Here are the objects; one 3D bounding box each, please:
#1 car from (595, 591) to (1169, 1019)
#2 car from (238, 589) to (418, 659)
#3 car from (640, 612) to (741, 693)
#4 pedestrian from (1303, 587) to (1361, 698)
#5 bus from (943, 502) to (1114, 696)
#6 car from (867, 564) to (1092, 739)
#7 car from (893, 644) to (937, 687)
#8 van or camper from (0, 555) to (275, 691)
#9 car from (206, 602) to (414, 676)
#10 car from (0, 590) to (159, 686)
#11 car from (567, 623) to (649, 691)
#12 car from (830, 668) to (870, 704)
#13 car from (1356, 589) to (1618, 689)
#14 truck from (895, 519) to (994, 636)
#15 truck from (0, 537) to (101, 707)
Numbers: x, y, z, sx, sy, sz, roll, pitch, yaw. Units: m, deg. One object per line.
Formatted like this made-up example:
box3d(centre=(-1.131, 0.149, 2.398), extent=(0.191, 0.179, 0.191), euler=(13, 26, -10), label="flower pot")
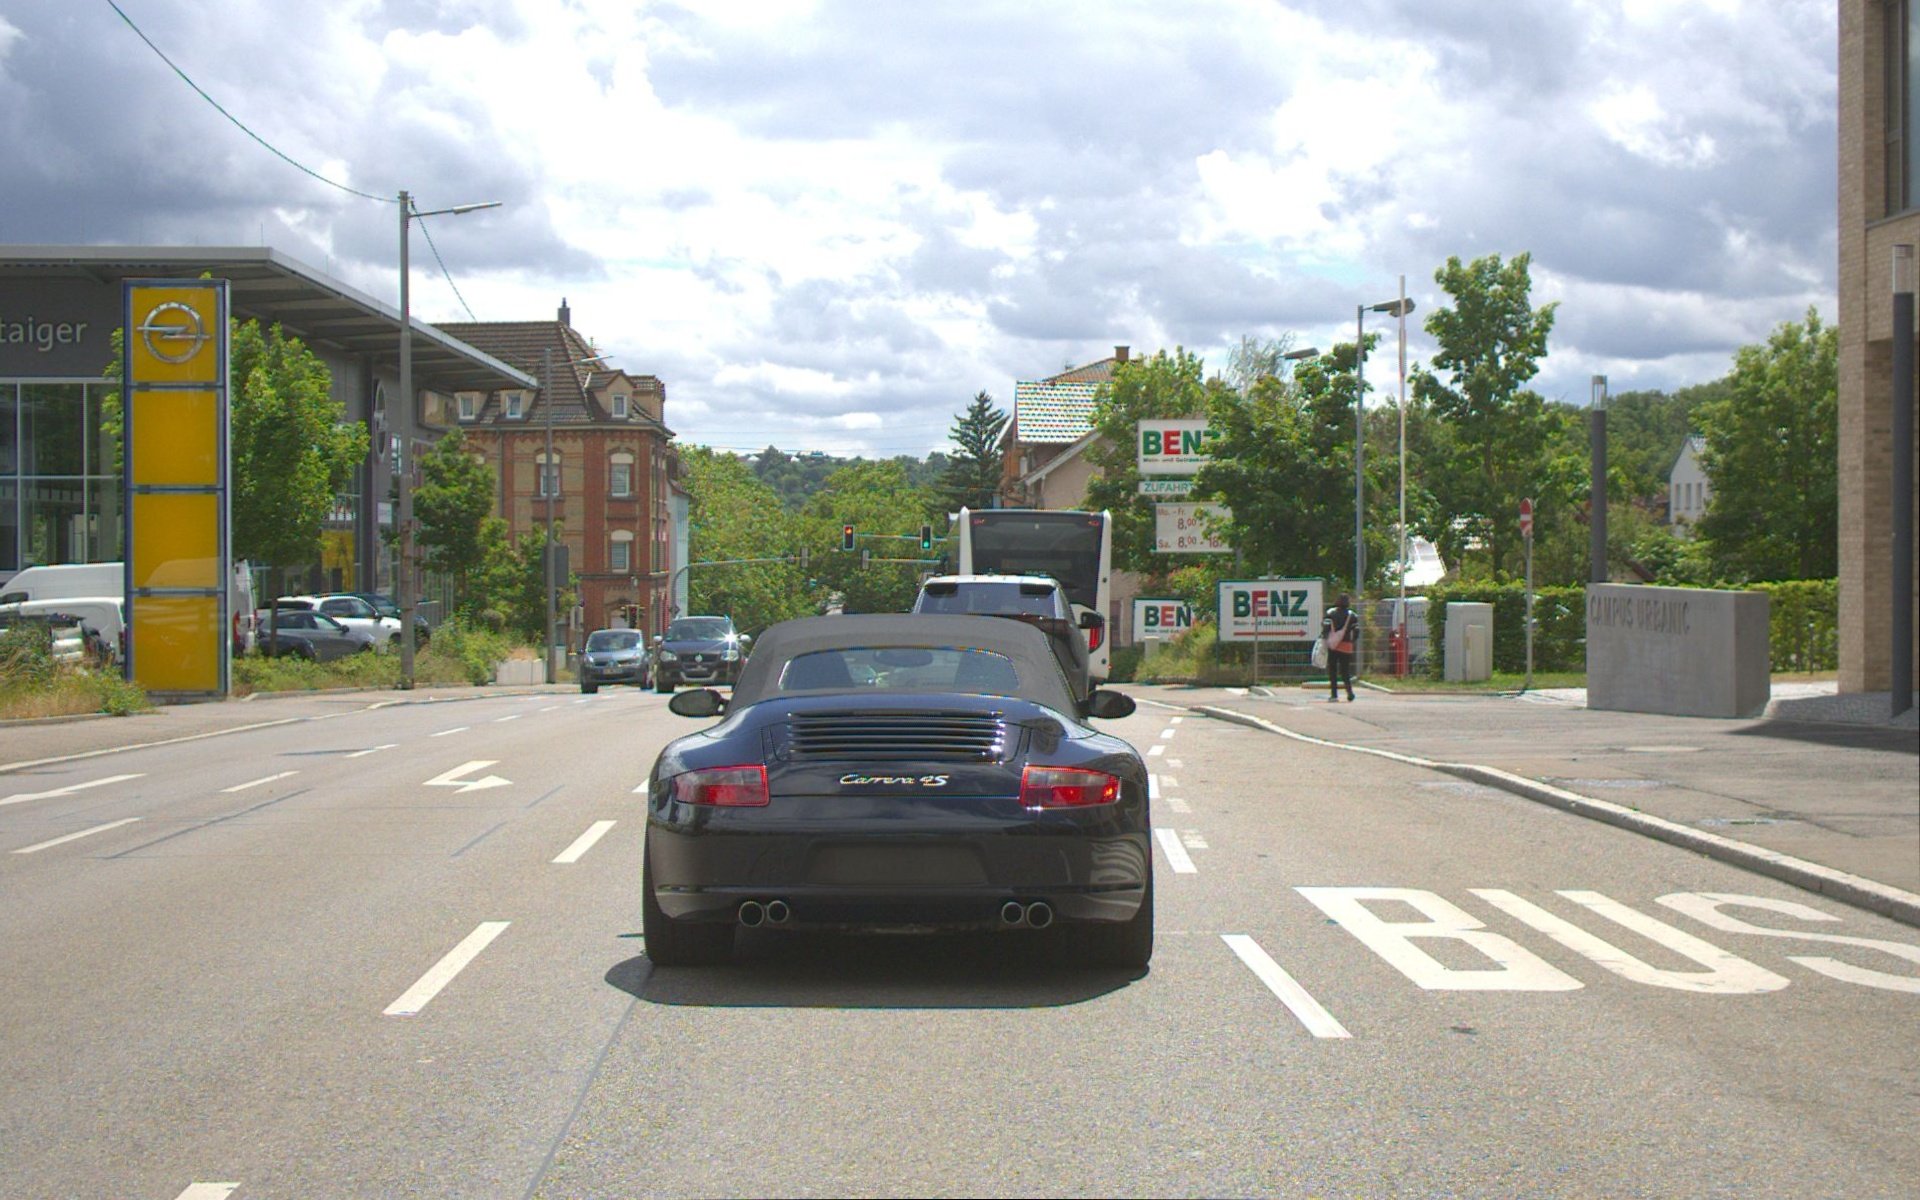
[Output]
box3d(centre=(-0.268, 0.685, 13.694), extent=(1.930, 1.372, 4.208), euler=(0, 1, 0), label="car")
box3d(centre=(-14.538, 0.576, 79.338), extent=(1.933, 1.567, 4.548), euler=(-1, -1, 22), label="car")
box3d(centre=(-5.236, 1.024, 67.100), extent=(1.829, 1.504, 4.277), euler=(-1, -1, -3), label="car")
box3d(centre=(5.198, 0.592, 48.120), extent=(0.687, 1.531, 0.856), euler=(-1, 0, -1), label="pedestrian")
box3d(centre=(1.169, -0.140, 62.698), extent=(2.802, 3.187, 12.196), euler=(0, 1, 0), label="bus")
box3d(centre=(0.119, 0.447, 33.418), extent=(1.930, 1.577, 4.208), euler=(0, 1, -3), label="car")
box3d(centre=(-2.066, 2.973, 157.241), extent=(1.832, 1.875, 4.000), euler=(-1, 0, -3), label="car")
box3d(centre=(-15.795, 0.411, 65.616), extent=(5.026, 2.522, 2.318), euler=(0, 1, -1), label="van or camper")
box3d(centre=(-14.048, 0.818, 74.566), extent=(1.897, 1.445, 4.825), euler=(1, 1, 27), label="car")
box3d(centre=(-16.933, 0.679, 62.998), extent=(3.987, 1.700, 2.000), euler=(0, 1, 4), label="car")
box3d(centre=(-8.871, 1.429, 86.871), extent=(1.743, 1.590, 4.042), euler=(-3, 0, -2), label="car")
box3d(centre=(-5.171, 4.006, 161.159), extent=(1.864, 1.660, 4.259), euler=(0, -1, -2), label="car")
box3d(centre=(10.494, 0.789, 68.605), extent=(4.706, 1.842, 2.089), euler=(-1, -1, -8), label="car")
box3d(centre=(-0.496, -0.564, 99.817), extent=(2.666, 3.097, 9.035), euler=(-1, -1, -1), label="truck")
box3d(centre=(-14.334, 0.341, 44.534), extent=(5.860, 2.140, 2.477), euler=(-1, -1, -4), label="truck")
